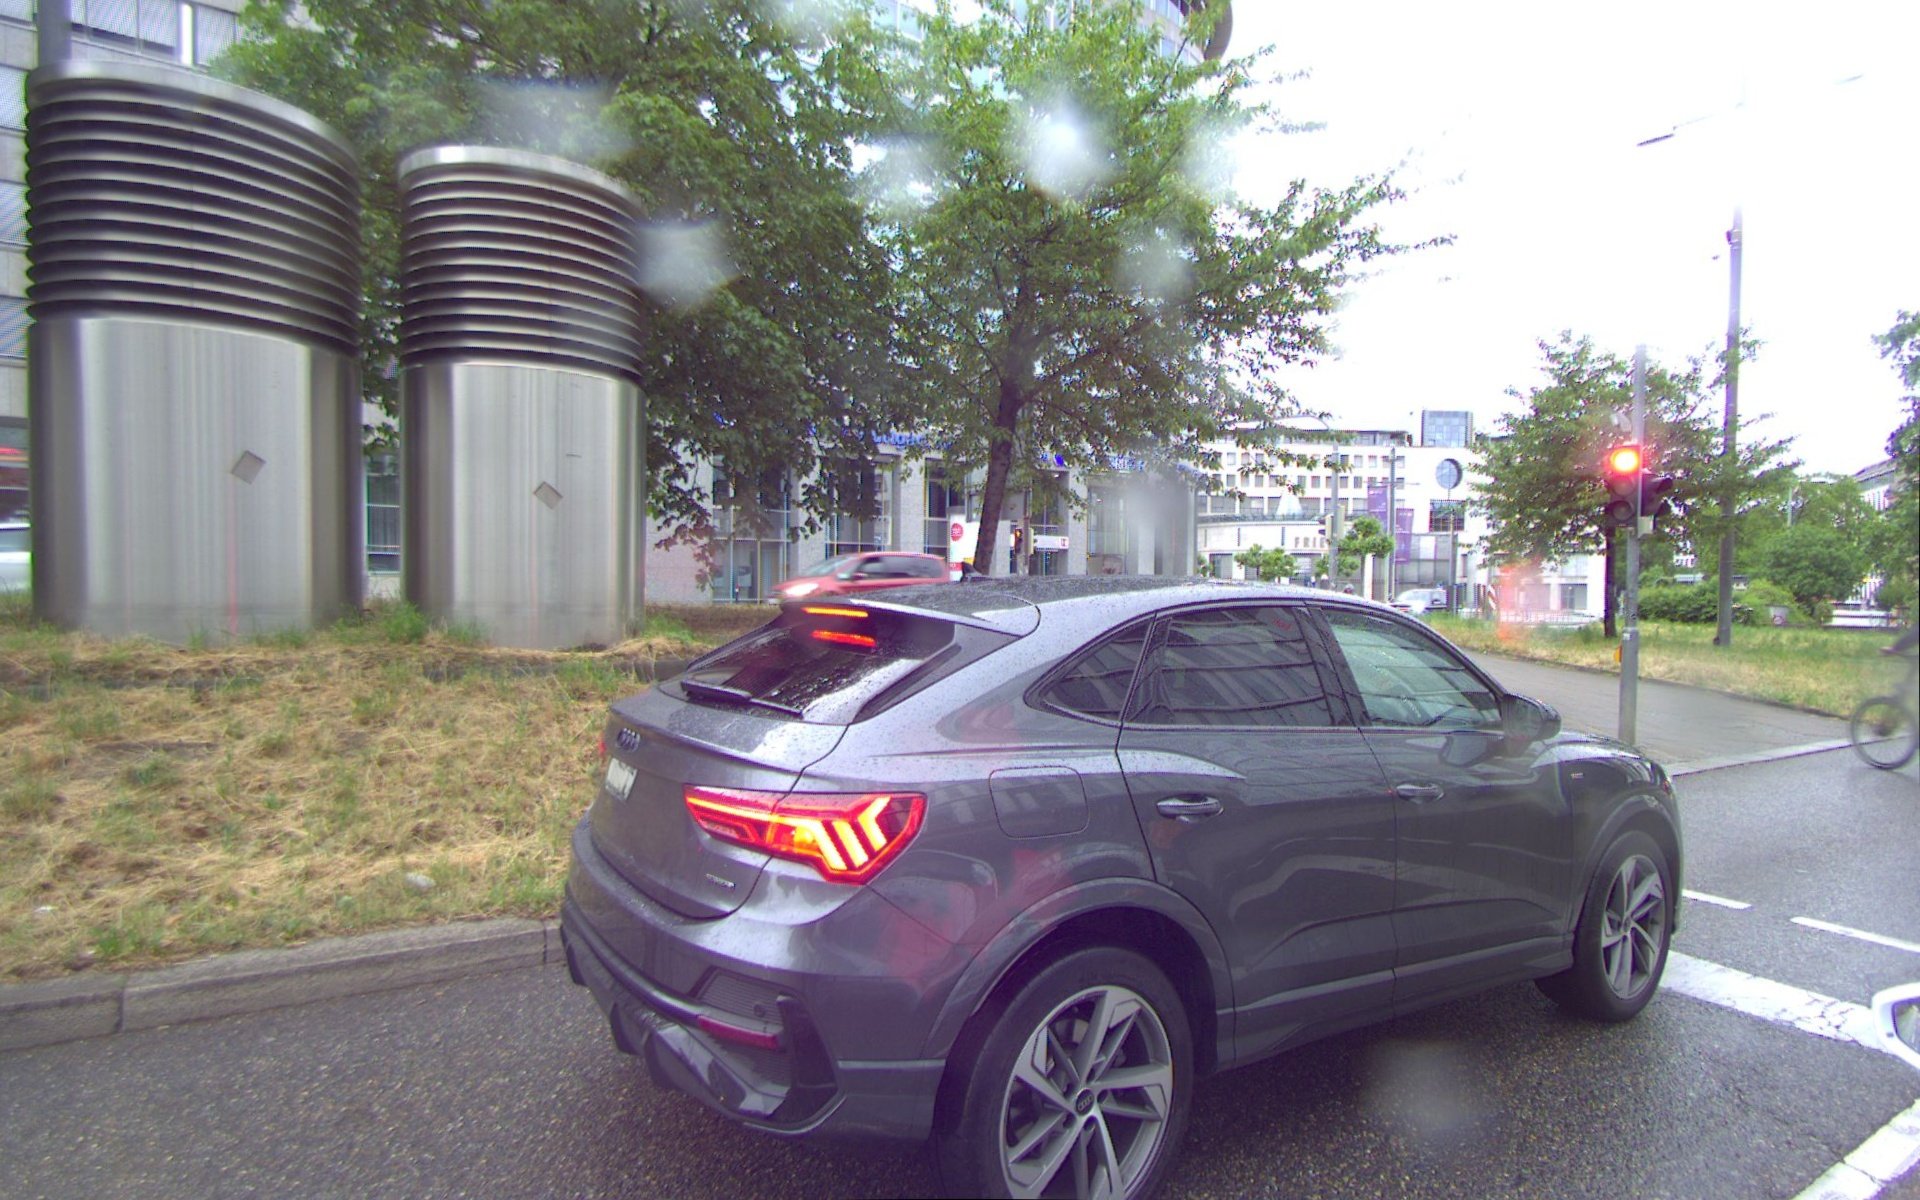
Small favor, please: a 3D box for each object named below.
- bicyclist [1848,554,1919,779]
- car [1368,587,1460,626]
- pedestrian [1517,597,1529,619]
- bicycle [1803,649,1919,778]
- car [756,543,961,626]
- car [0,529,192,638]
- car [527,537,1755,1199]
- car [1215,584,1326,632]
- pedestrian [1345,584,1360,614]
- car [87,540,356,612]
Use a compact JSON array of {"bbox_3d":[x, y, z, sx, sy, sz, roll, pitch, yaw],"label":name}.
[{"bbox_3d":[9.419,0.635,9.658,0.748,2.110,1.085,1,0,0],"label":"bicyclist"},{"bbox_3d":[19.370,0.303,42.756,4.347,1.506,1.789,1,2,-40],"label":"car"},{"bbox_3d":[52.398,0.728,93.447,0.778,2.041,0.738,4,3,34],"label":"pedestrian"},{"bbox_3d":[9.418,1.107,9.694,0.748,1.160,2.133,1,0,0],"label":"bicycle"},{"bbox_3d":[-2.271,-0.326,23.295,4.543,1.750,1.710,1,1,-39],"label":"car"},{"bbox_3d":[-13.654,-0.247,14.414,4.157,1.495,1.805,1,1,-39],"label":"car"},{"bbox_3d":[0.884,0.699,3.579,4.208,1.638,1.836,0,2,-34],"label":"car"},{"bbox_3d":[10.784,0.274,34.751,3.968,1.506,1.789,1,3,-41],"label":"car"},{"bbox_3d":[23.633,-0.039,60.470,0.612,1.786,0.722,-1,-2,40],"label":"pedestrian"},{"bbox_3d":[-15.524,-0.471,21.358,4.435,1.343,1.878,1,1,-37],"label":"car"}]
